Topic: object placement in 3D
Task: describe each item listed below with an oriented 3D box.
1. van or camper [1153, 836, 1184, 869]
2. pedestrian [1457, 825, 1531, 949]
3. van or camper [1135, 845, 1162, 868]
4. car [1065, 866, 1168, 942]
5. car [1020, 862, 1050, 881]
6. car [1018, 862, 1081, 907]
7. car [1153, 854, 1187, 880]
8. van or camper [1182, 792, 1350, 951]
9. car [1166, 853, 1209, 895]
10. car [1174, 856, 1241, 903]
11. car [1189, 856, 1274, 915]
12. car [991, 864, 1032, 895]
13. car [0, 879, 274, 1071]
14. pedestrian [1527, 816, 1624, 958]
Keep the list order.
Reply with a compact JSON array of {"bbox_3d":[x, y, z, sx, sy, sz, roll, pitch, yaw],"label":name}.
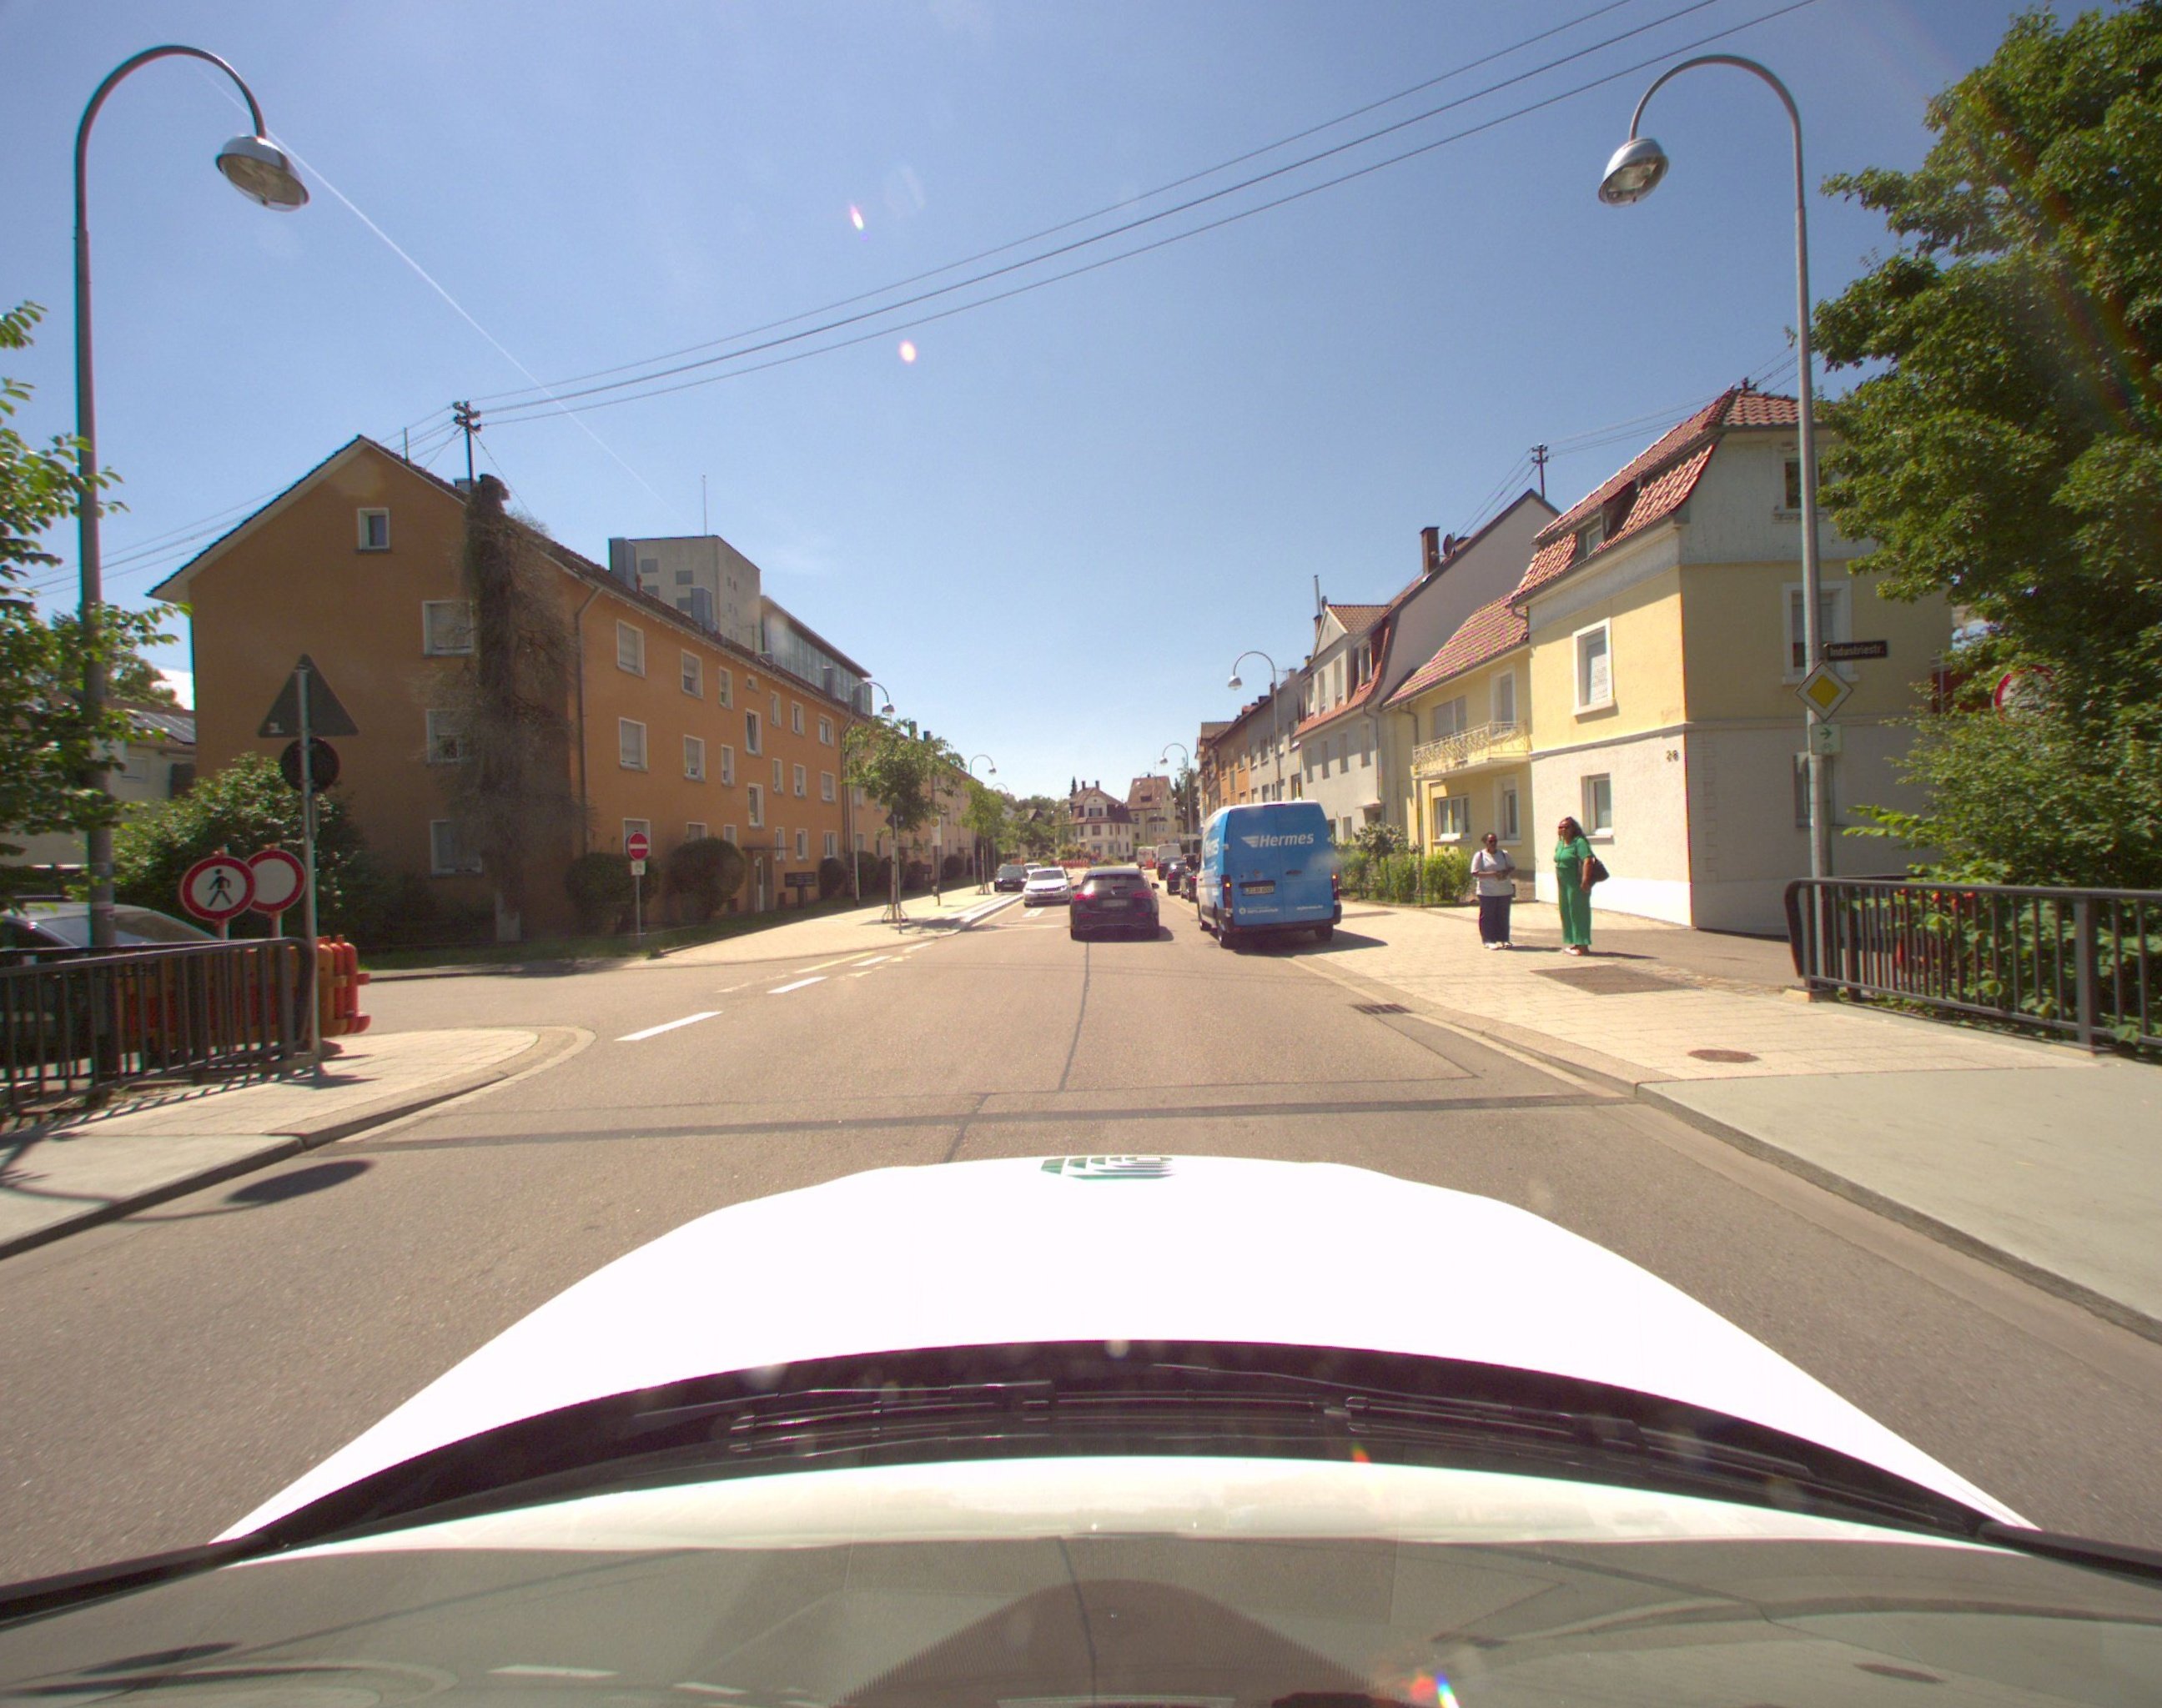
[{"bbox_3d":[7.296,-0.127,68.475,2.155,2.588,5.771,-3,0,4],"label":"van or camper"},{"bbox_3d":[5.815,0.455,11.492,0.635,1.654,0.521,-6,0,-1],"label":"pedestrian"},{"bbox_3d":[8.090,0.251,97.752,2.187,2.610,4.020,-2,0,20],"label":"van or camper"},{"bbox_3d":[0.772,0.993,17.555,1.945,1.427,4.002,-1,-1,2],"label":"car"},{"bbox_3d":[-3.577,1.356,63.504,1.987,1.420,4.088,-2,-1,1],"label":"car"},{"bbox_3d":[-1.160,1.126,32.092,1.985,1.507,4.292,-2,0,4],"label":"car"},{"bbox_3d":[6.274,0.888,56.943,1.883,1.607,4.378,-4,-1,11],"label":"car"},{"bbox_3d":[3.410,0.330,16.425,2.100,2.467,6.180,-4,-1,3],"label":"van or camper"},{"bbox_3d":[4.781,0.856,36.883,1.720,1.633,4.007,-5,0,6],"label":"car"},{"bbox_3d":[4.650,0.885,30.639,1.797,1.475,4.722,-5,0,1],"label":"car"},{"bbox_3d":[4.392,0.869,24.357,1.797,1.530,4.152,-3,0,1],"label":"car"},{"bbox_3d":[-3.930,1.410,46.660,1.851,1.506,4.563,-2,0,1],"label":"car"},{"bbox_3d":[-12.730,1.452,9.441,4.422,1.873,1.814,-5,1,-9],"label":"car"},{"bbox_3d":[6.346,0.410,10.481,0.521,1.706,0.799,-6,0,-18],"label":"pedestrian"}]
